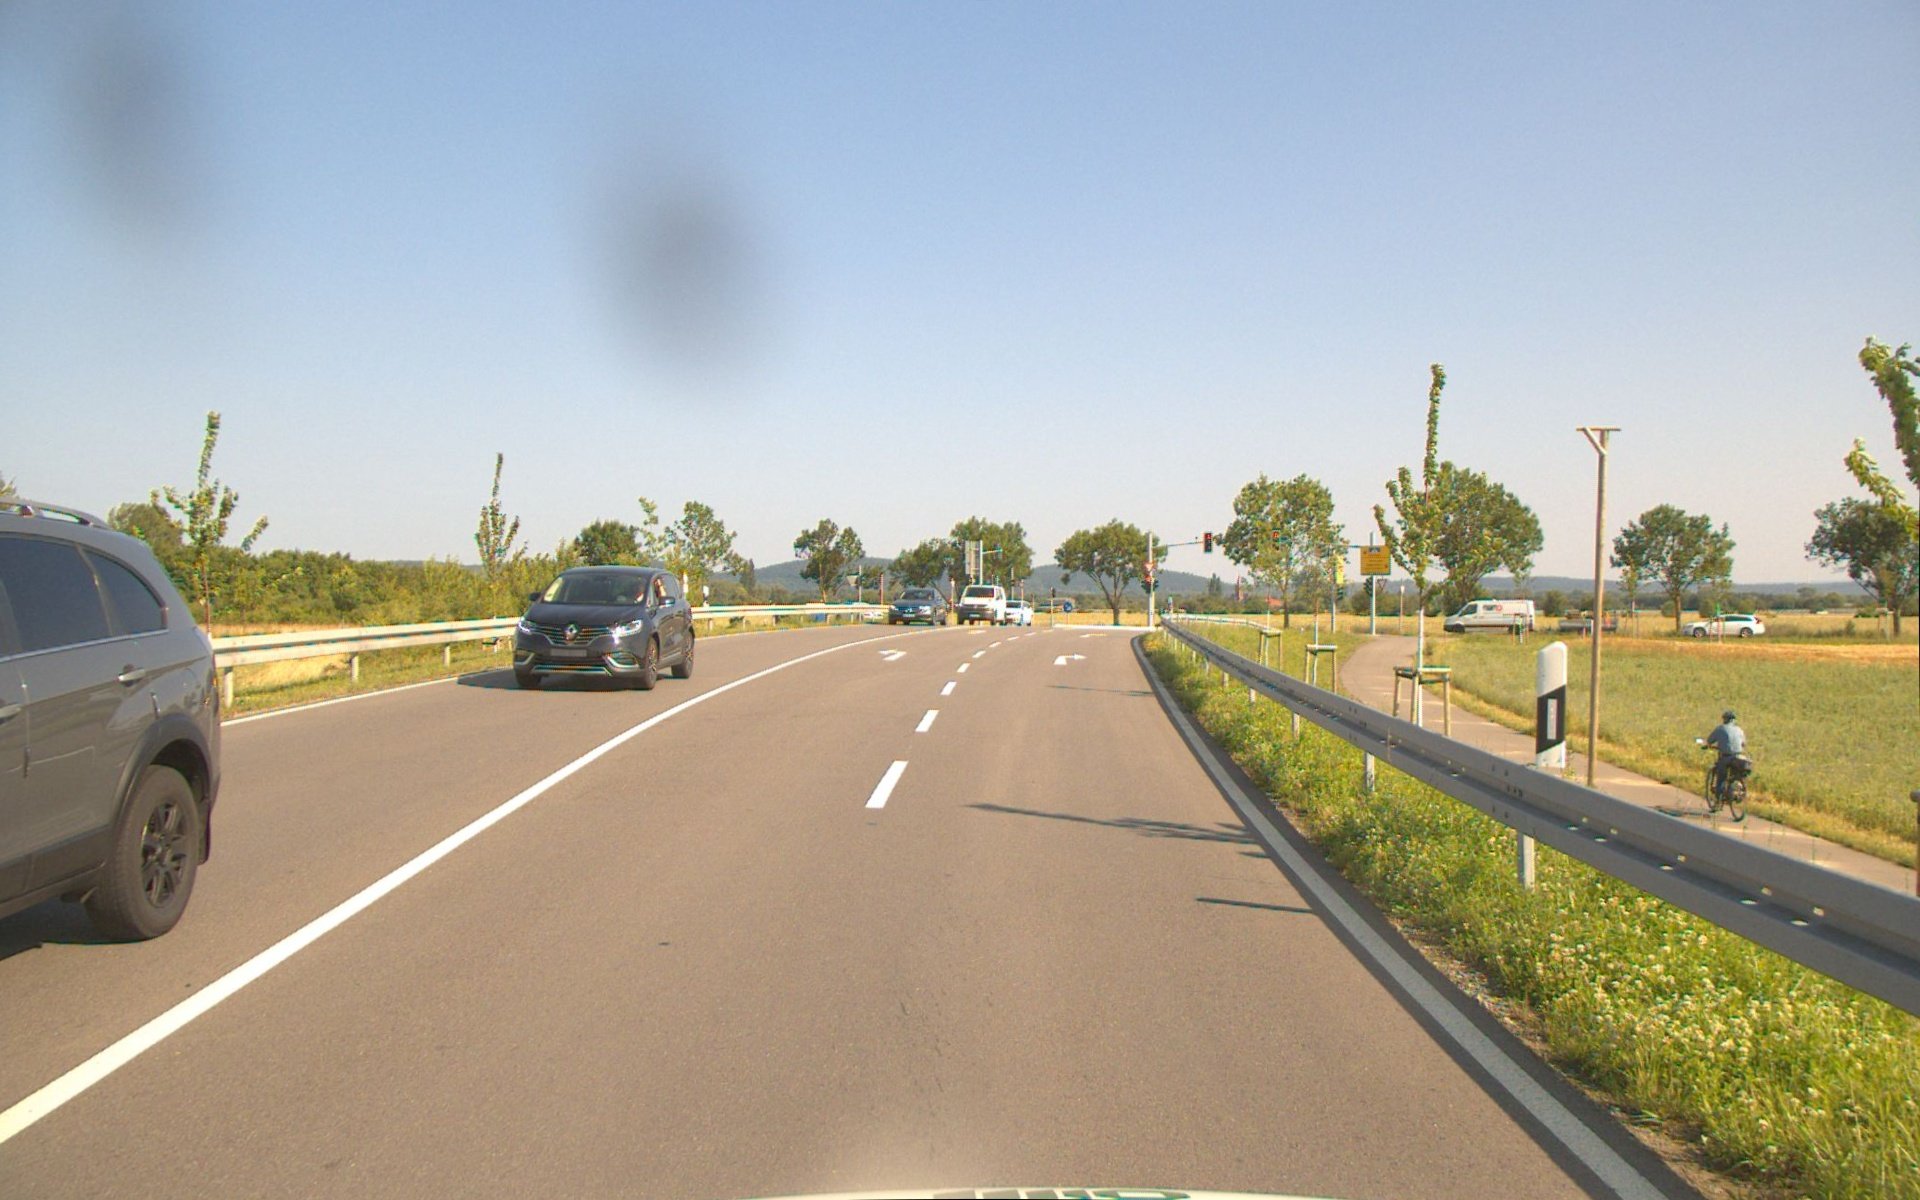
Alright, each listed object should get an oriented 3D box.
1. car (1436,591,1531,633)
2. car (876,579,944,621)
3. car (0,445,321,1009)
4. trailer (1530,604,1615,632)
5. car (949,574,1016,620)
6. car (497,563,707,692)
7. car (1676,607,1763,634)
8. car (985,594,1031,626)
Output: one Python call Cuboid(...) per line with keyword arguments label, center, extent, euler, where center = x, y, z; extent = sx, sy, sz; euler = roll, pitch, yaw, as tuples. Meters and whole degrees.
Cuboid(label="car", center=(34.707, 0.781, 109.633), extent=(5.835, 2.536, 2.000), euler=(2, -1, 22))
Cuboid(label="car", center=(-1.981, -0.021, 66.757), extent=(1.756, 1.473, 4.711), euler=(2, 2, 10))
Cuboid(label="car", center=(-4.044, 0.399, 5.659), extent=(1.844, 1.829, 5.088), euler=(2, -2, -2))
Cuboid(label="trailer", center=(39.863, 1.185, 107.613), extent=(5.153, 1.784, 1.953), euler=(0, -1, 22))
Cuboid(label="car", center=(1.160, -0.195, 83.017), extent=(2.070, 2.048, 5.158), euler=(2, 2, 16))
Cuboid(label="car", center=(-5.046, 0.337, 24.004), extent=(1.953, 1.620, 4.863), euler=(2, 1, 0))
Cuboid(label="car", center=(48.070, 1.288, 104.783), extent=(4.767, 1.536, 2.000), euler=(2, -1, 19))
Cuboid(label="car", center=(2.826, 0.562, 96.891), extent=(2.070, 1.518, 5.158), euler=(2, 2, 8))
